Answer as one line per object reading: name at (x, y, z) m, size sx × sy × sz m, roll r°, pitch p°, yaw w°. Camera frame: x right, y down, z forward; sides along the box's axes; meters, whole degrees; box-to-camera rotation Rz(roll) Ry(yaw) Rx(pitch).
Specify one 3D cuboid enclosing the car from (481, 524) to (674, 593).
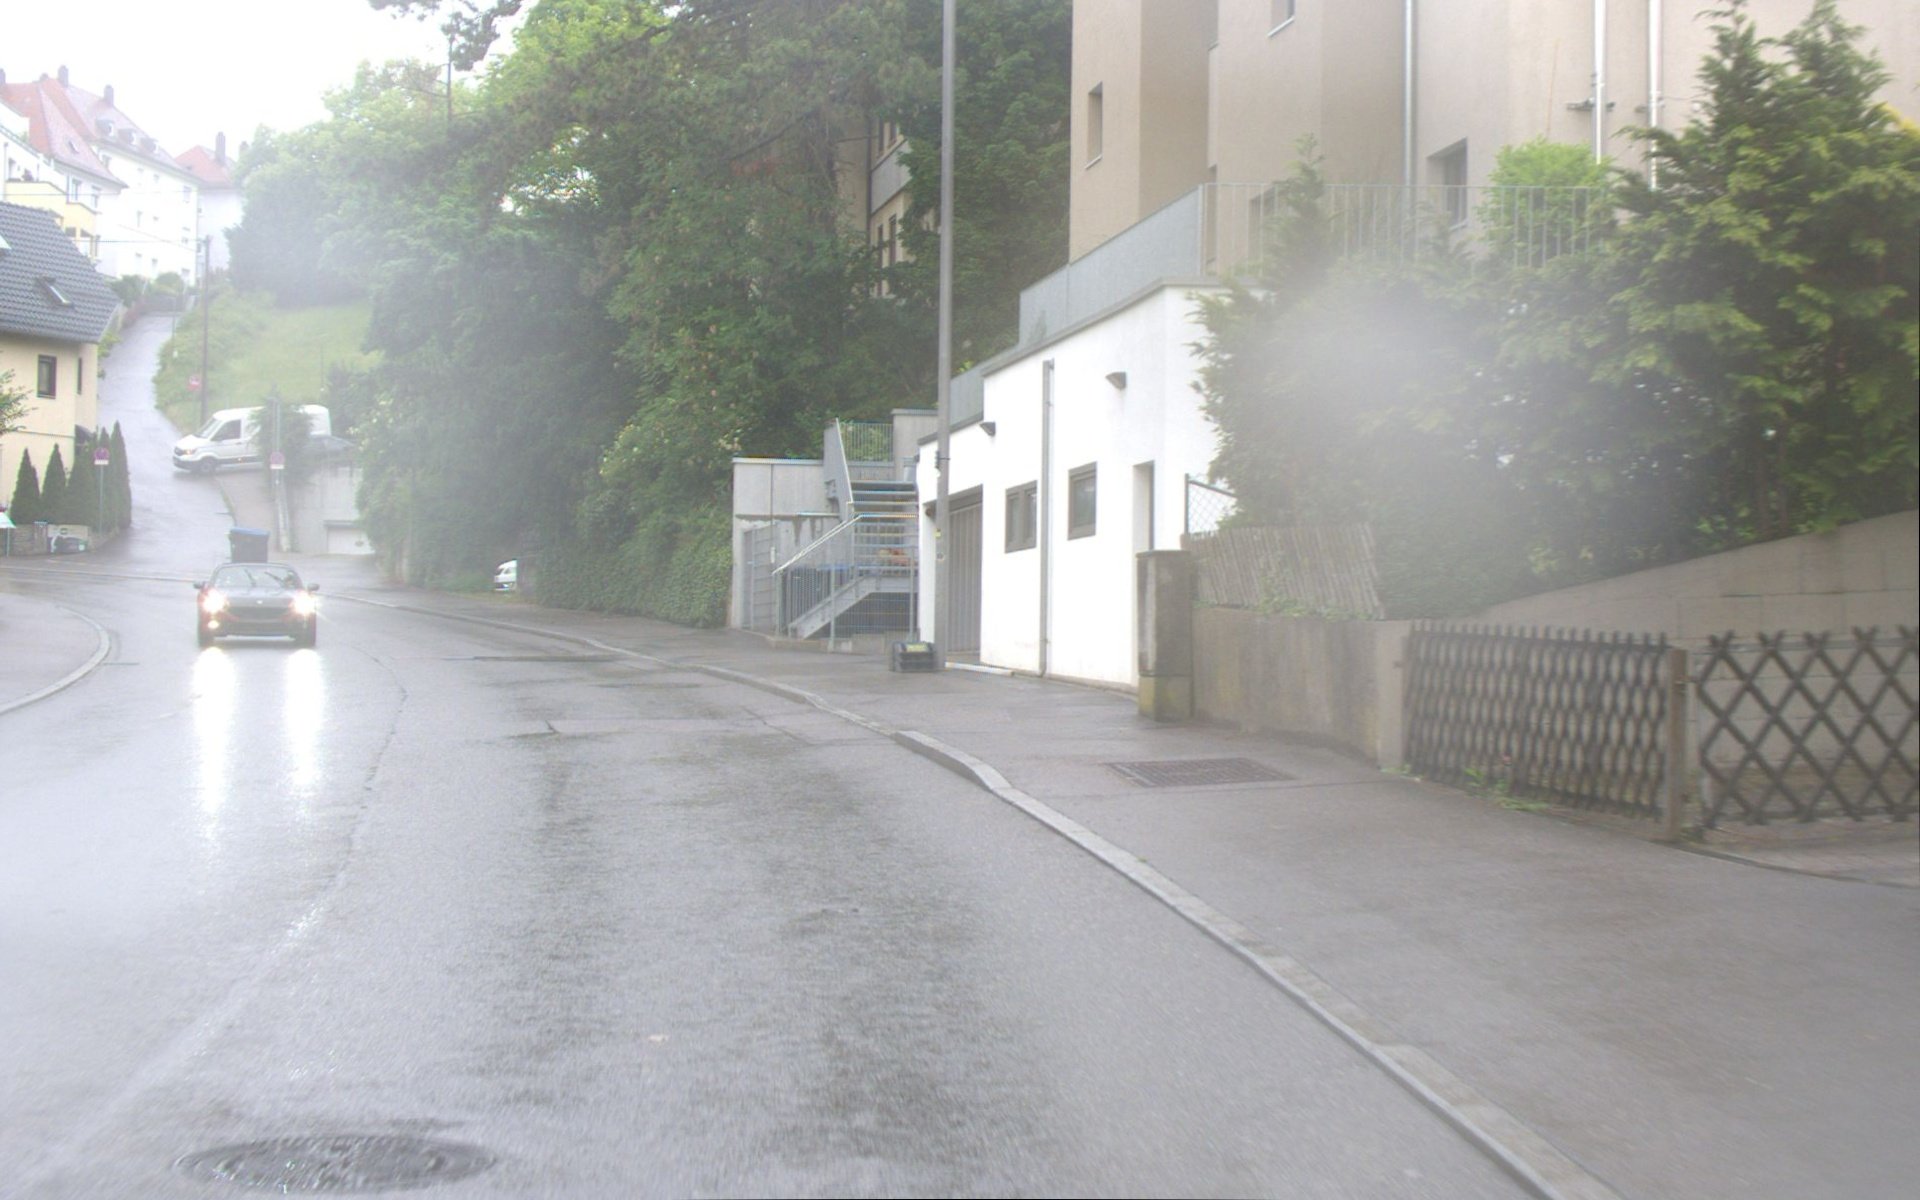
car at (-8.892, -0.970, 79.860) m, size 4.142 × 1.471 × 1.905 m, roll -2°, pitch 2°, yaw -17°

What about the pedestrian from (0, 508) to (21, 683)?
pedestrian at (-9.382, -0.066, 32.457) m, size 0.756 × 1.638 × 1.040 m, roll 4°, pitch 0°, yaw -7°

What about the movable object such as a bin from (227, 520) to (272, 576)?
movable object such as a bin at (-18.824, -1.378, 91.047) m, size 1.081 × 1.437 × 1.458 m, roll 2°, pitch 1°, yaw -14°

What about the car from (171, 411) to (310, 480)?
car at (-27.498, -5.902, 131.381) m, size 4.941 × 2.560 × 1.905 m, roll -2°, pitch 2°, yaw -20°

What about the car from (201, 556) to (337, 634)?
car at (-10.613, -0.101, 53.006) m, size 1.679 × 1.142 × 4.001 m, roll 0°, pitch 1°, yaw -6°
